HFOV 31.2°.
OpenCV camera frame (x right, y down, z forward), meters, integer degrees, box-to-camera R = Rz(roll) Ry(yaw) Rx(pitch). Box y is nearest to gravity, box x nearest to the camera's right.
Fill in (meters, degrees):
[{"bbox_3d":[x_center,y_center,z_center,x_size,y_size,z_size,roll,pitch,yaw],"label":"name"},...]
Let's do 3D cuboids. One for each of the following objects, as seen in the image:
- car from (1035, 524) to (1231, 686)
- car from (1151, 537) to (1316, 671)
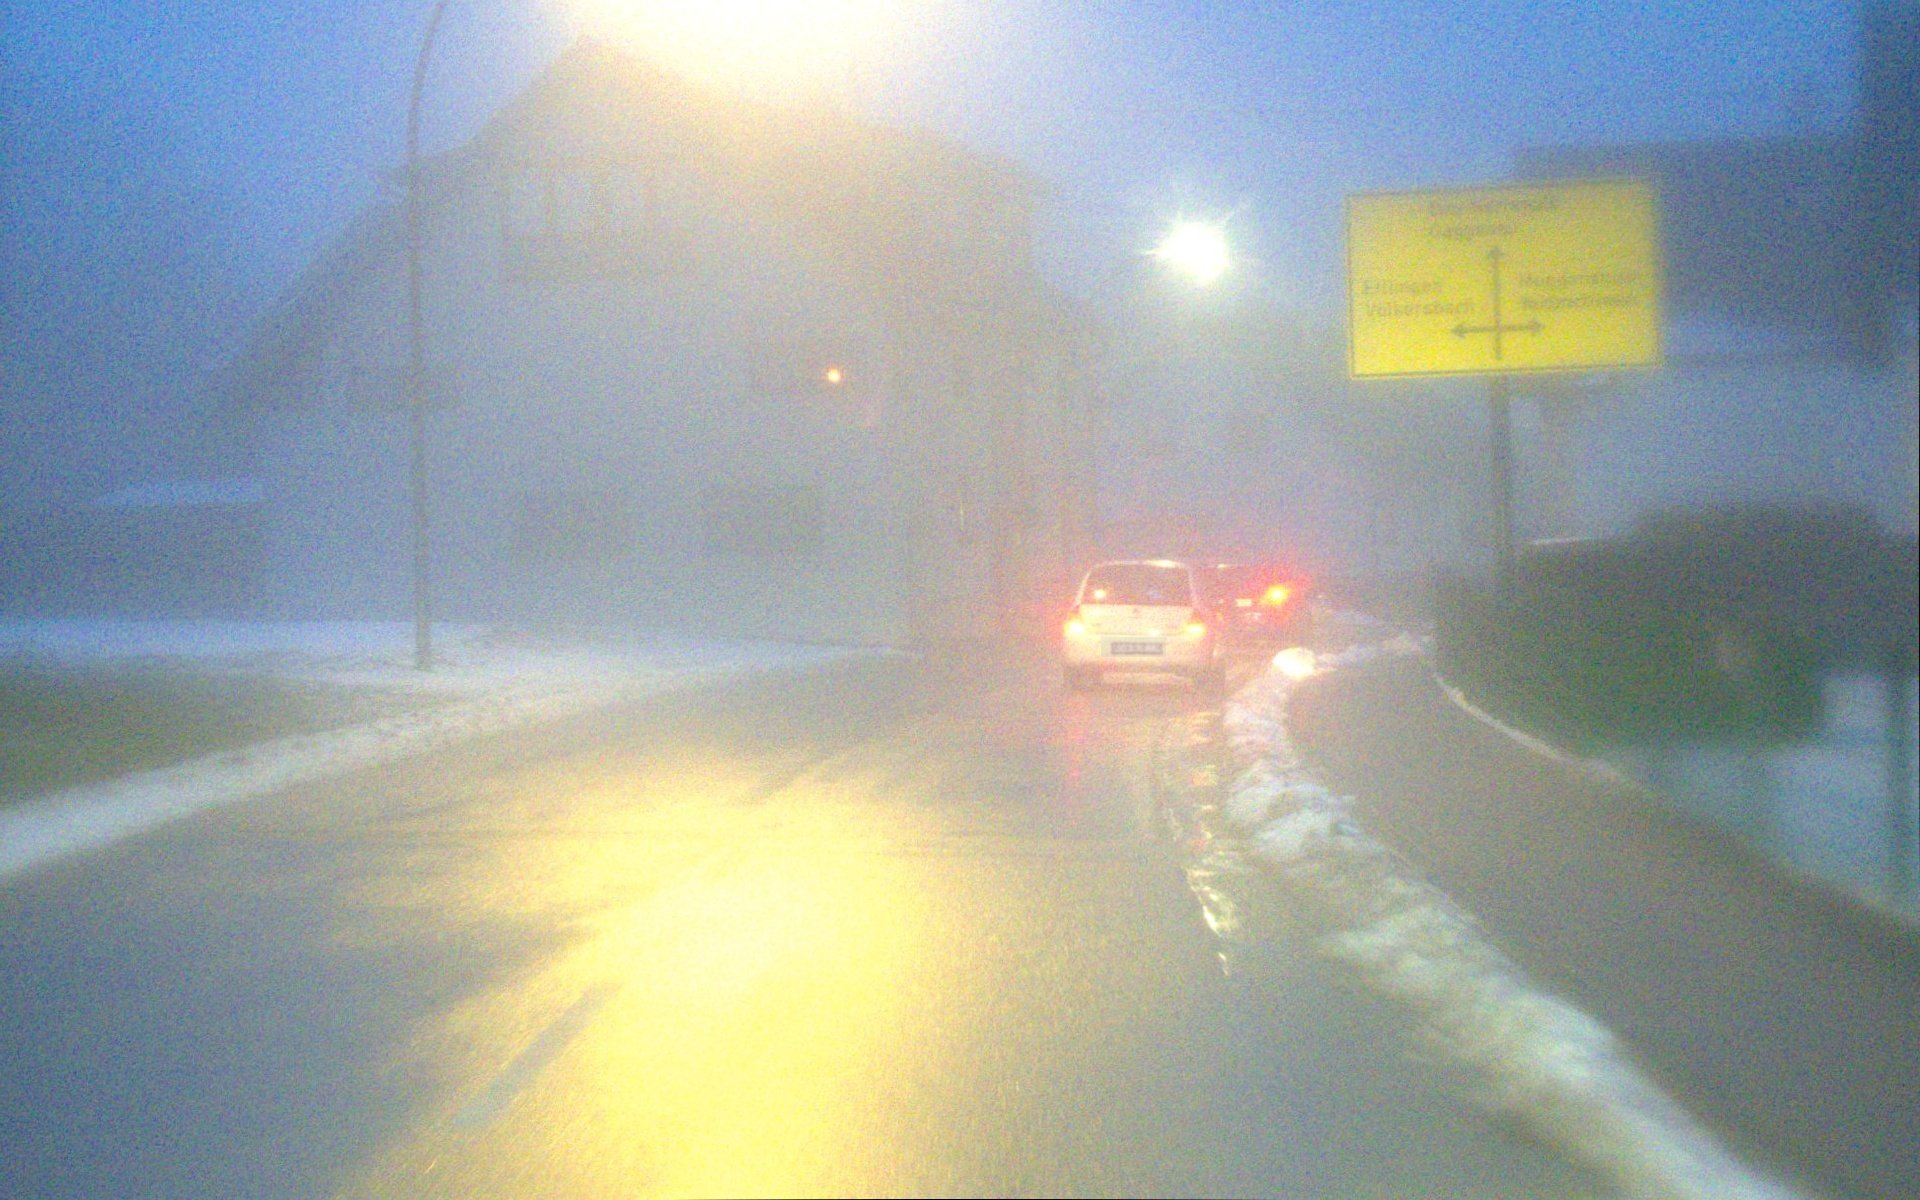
[{"bbox_3d":[1.979,0.015,38.231,1.994,1.502,4.000,-3,3,5],"label":"car"},{"bbox_3d":[4.404,0.029,54.828,1.994,1.831,3.998,-3,3,13],"label":"car"}]
